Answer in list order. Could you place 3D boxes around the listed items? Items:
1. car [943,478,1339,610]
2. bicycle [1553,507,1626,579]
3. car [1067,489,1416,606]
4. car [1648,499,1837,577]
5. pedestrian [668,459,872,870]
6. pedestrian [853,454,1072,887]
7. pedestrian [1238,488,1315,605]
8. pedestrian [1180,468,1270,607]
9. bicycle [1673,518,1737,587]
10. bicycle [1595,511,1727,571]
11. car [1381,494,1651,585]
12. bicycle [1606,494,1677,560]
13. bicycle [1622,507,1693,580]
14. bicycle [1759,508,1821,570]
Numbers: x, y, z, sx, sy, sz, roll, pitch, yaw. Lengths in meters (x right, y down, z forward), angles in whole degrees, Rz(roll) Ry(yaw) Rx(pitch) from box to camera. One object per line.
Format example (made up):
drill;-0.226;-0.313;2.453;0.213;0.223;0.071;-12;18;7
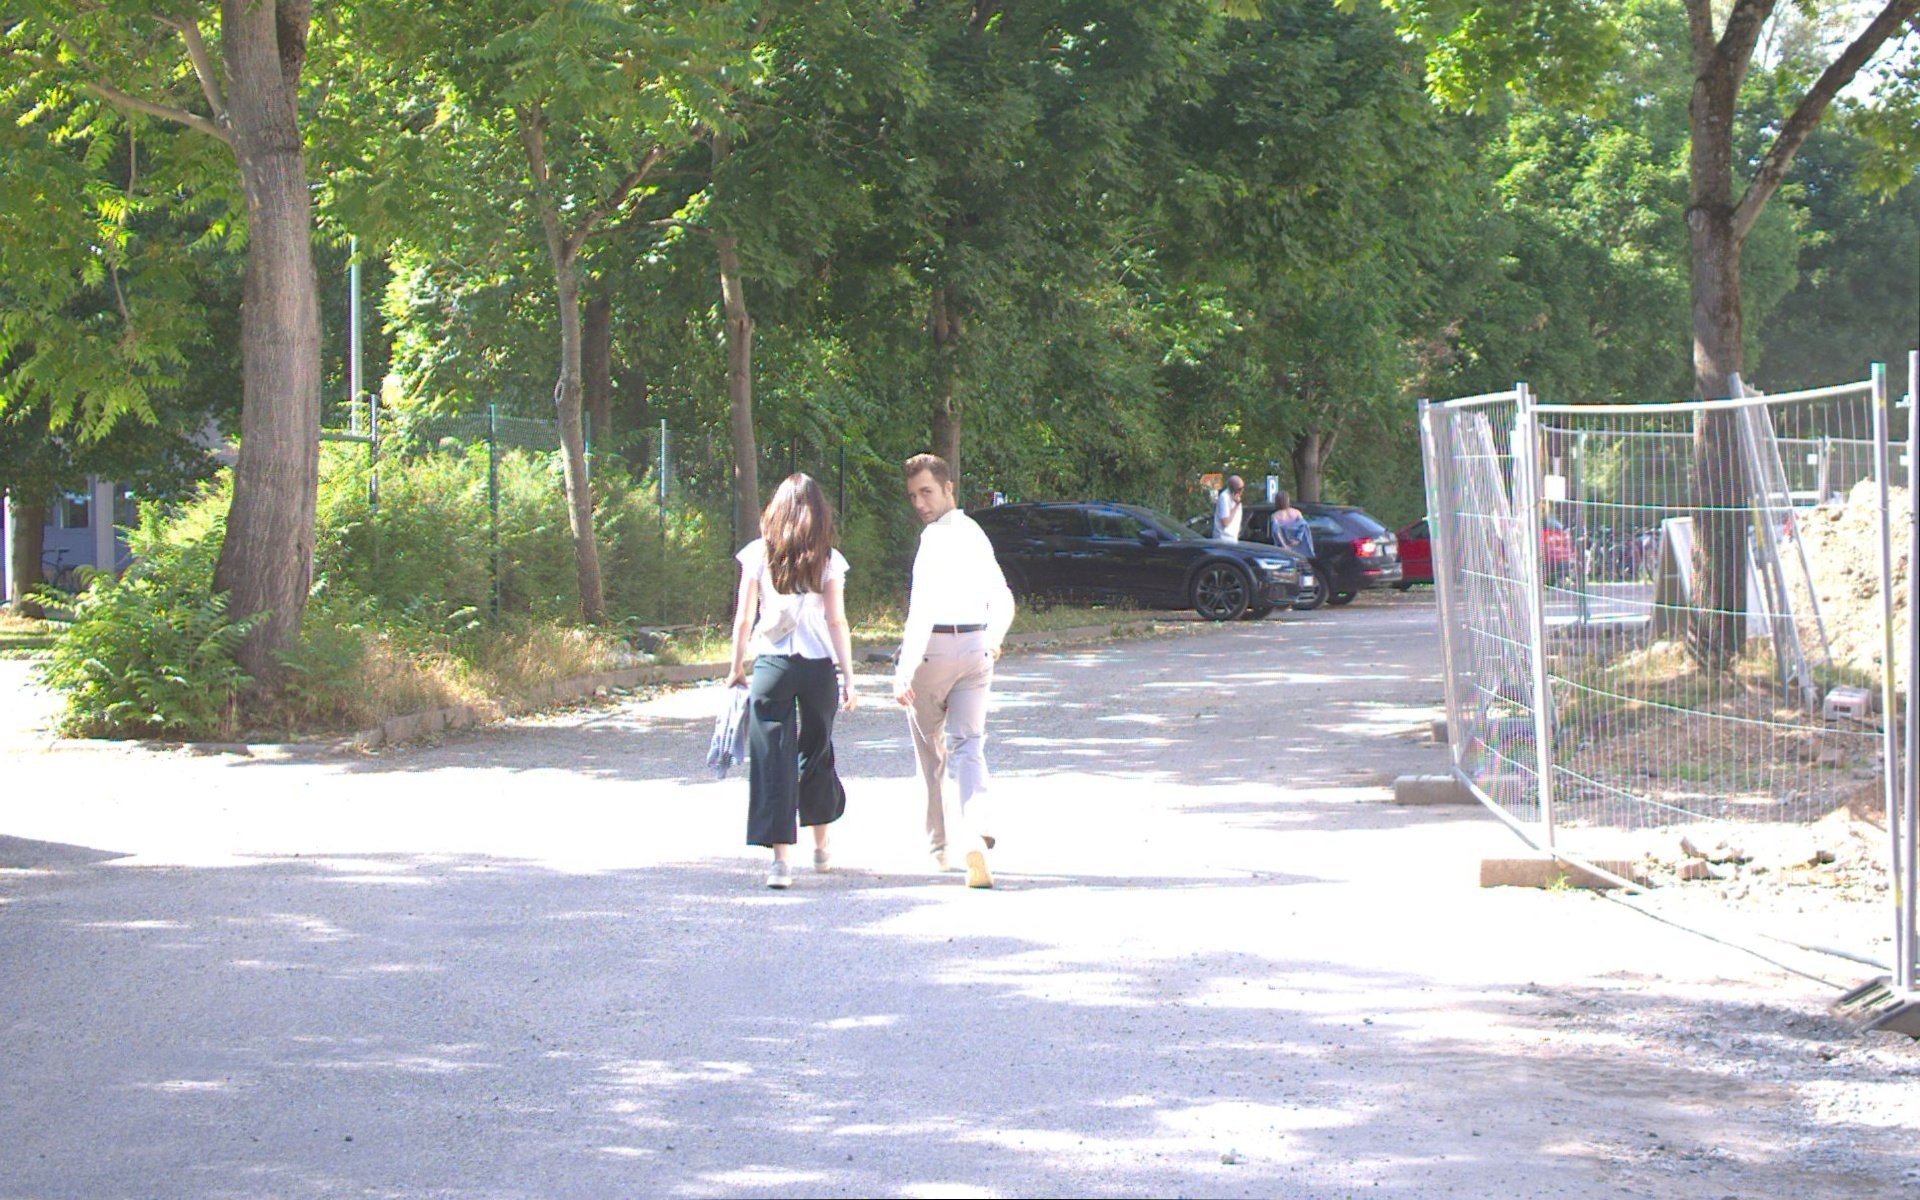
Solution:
car;2.298;-0.728;43.219;4.659;1.579;1.999;0;3;15
bicycle;11.632;-1.063;63.449;0.715;1.280;2.788;0;2;24
car;4.020;-0.772;48.878;4.659;1.579;1.999;0;3;15
car;18.238;-1.463;80.121;3.993;1.765;1.765;1;2;27
pedestrian;-0.790;0.241;14.146;0.735;1.634;0.781;-1;2;-10
pedestrian;-0.001;0.262;14.179;0.755;1.722;0.854;-1;3;-10
pedestrian;4.353;-0.743;47.271;0.925;1.589;0.785;0;3;16
pedestrian;3.427;-0.809;44.416;1.014;1.775;0.819;0;2;15
bicycle;14.394;-0.923;66.365;0.715;1.280;2.634;0;2;24
bicycle;14.979;-1.264;73.442;2.677;1.280;0.818;0;2;18
car;9.620;-1.052;59.461;4.291;1.519;1.890;0;2;22
bicycle;13.499;-1.451;68.014;0.817;1.280;2.681;0;2;24
bicycle;12.632;-1.043;62.233;0.715;1.280;2.681;0;2;24
bicycle;17.661;-1.307;73.149;0.817;1.280;2.743;0;2;24
